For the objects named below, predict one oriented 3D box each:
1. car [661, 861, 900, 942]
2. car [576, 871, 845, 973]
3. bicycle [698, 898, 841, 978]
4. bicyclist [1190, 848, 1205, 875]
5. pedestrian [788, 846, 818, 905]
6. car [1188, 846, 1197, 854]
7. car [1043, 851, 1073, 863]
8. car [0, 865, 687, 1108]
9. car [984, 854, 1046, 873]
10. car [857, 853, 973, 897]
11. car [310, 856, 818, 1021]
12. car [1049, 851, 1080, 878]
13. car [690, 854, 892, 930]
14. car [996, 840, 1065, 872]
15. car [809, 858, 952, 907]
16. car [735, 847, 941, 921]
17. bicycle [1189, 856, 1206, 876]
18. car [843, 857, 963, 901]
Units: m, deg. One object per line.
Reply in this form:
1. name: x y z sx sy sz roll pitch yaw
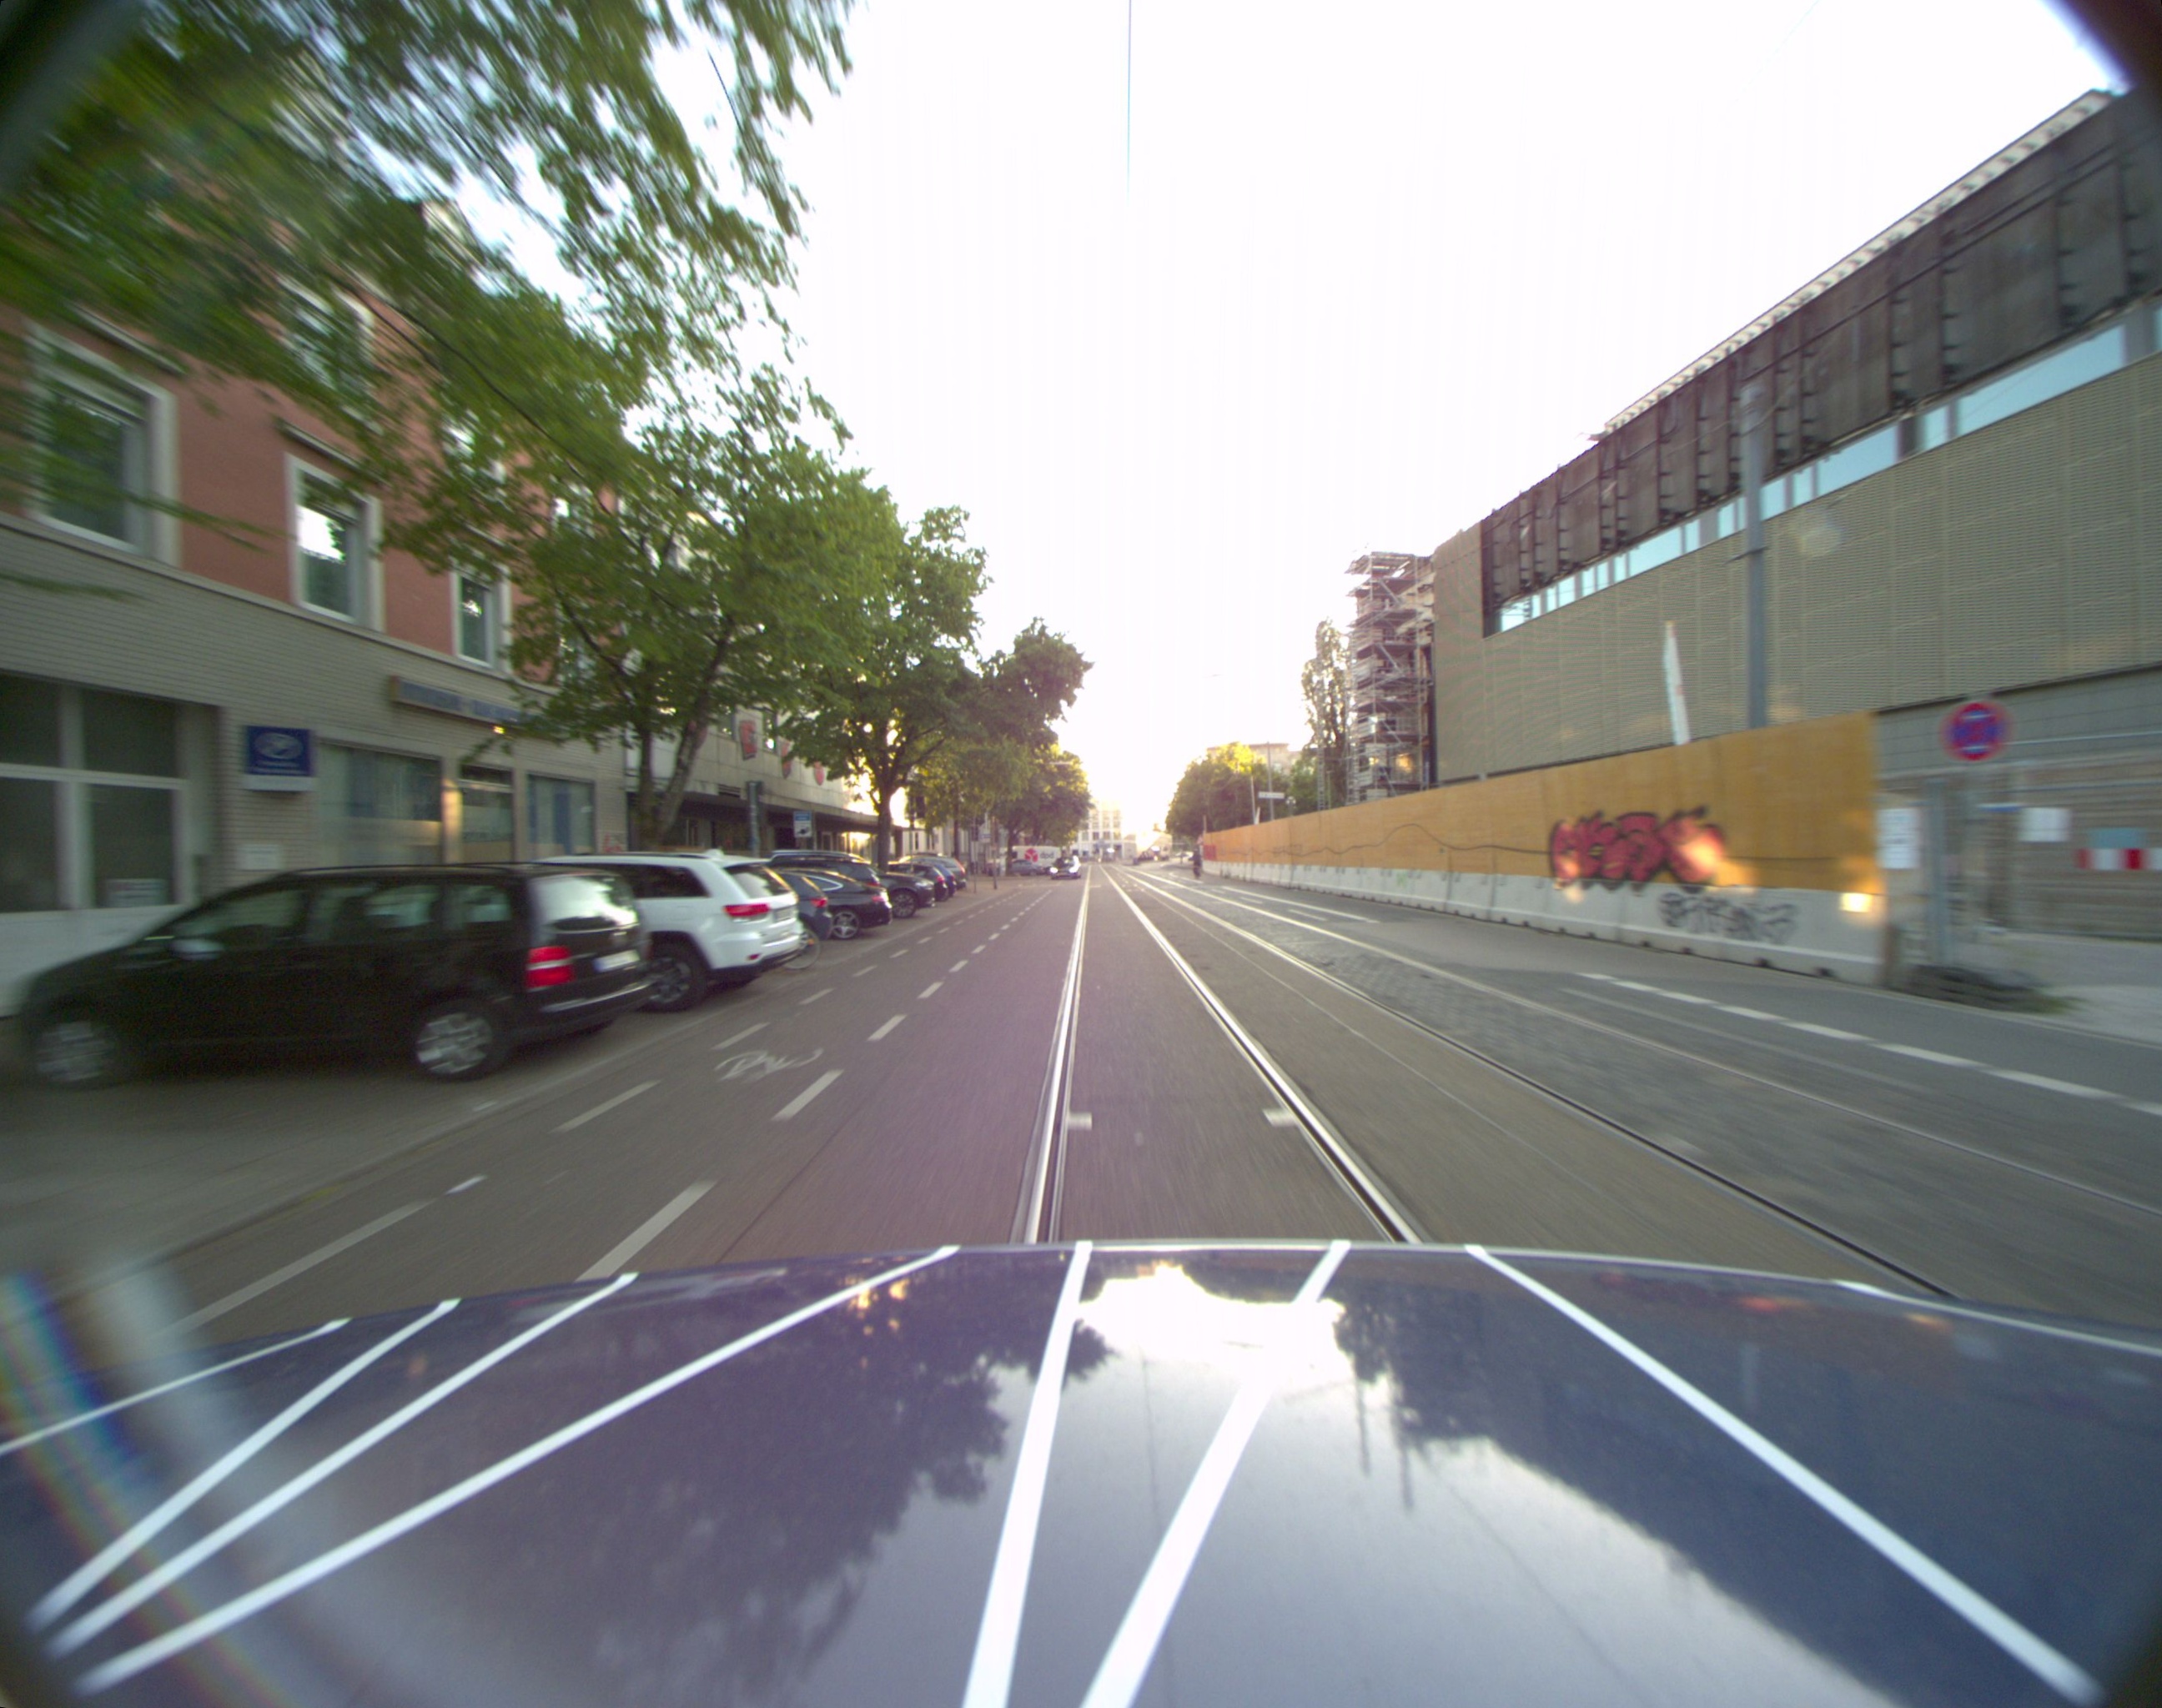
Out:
1. car: -6.042 0.916 15.415 4.232 1.418 1.971 2 0 -27
2. car: -6.041 1.035 12.586 3.766 1.418 1.723 1 0 -31
3. bicycle: -4.512 1.215 11.108 1.842 1.096 0.497 1 0 -13
4. bicyclist: 7.212 0.446 47.059 0.770 1.656 1.018 -1 0 1
5. pedestrian: -9.413 0.722 25.739 0.693 1.974 0.786 1 1 1
6. car: 25.921 -0.876 176.576 1.997 1.674 4.003 -2 0 11
7. car: -3.521 0.502 115.899 4.217 1.600 1.740 -2 1 -28
8. car: -6.221 0.976 6.446 4.662 1.678 2.007 1 0 -4
9. car: -5.263 0.786 60.903 4.615 1.504 1.858 1 -1 -27
10. car: -6.659 0.835 30.652 4.176 1.654 1.837 1 0 -33
11. car: -5.833 0.905 9.064 4.660 1.678 2.008 1 0 0
12. car: -1.098 0.711 51.964 1.840 1.631 4.169 -5 0 1
13. car: -6.713 0.875 18.001 4.229 1.639 1.973 1 0 -17
14. car: -4.455 0.199 67.240 5.650 2.678 2.166 -1 0 -33
15. car: -6.543 0.910 24.844 4.174 1.456 1.967 1 0 -27
16. car: -6.425 0.791 20.477 4.984 1.816 2.204 1 0 -17
17. bicycle: 7.219 0.739 47.093 0.770 1.221 1.936 -1 0 1
18. car: -6.533 0.920 27.930 3.901 1.493 1.809 1 0 -30
